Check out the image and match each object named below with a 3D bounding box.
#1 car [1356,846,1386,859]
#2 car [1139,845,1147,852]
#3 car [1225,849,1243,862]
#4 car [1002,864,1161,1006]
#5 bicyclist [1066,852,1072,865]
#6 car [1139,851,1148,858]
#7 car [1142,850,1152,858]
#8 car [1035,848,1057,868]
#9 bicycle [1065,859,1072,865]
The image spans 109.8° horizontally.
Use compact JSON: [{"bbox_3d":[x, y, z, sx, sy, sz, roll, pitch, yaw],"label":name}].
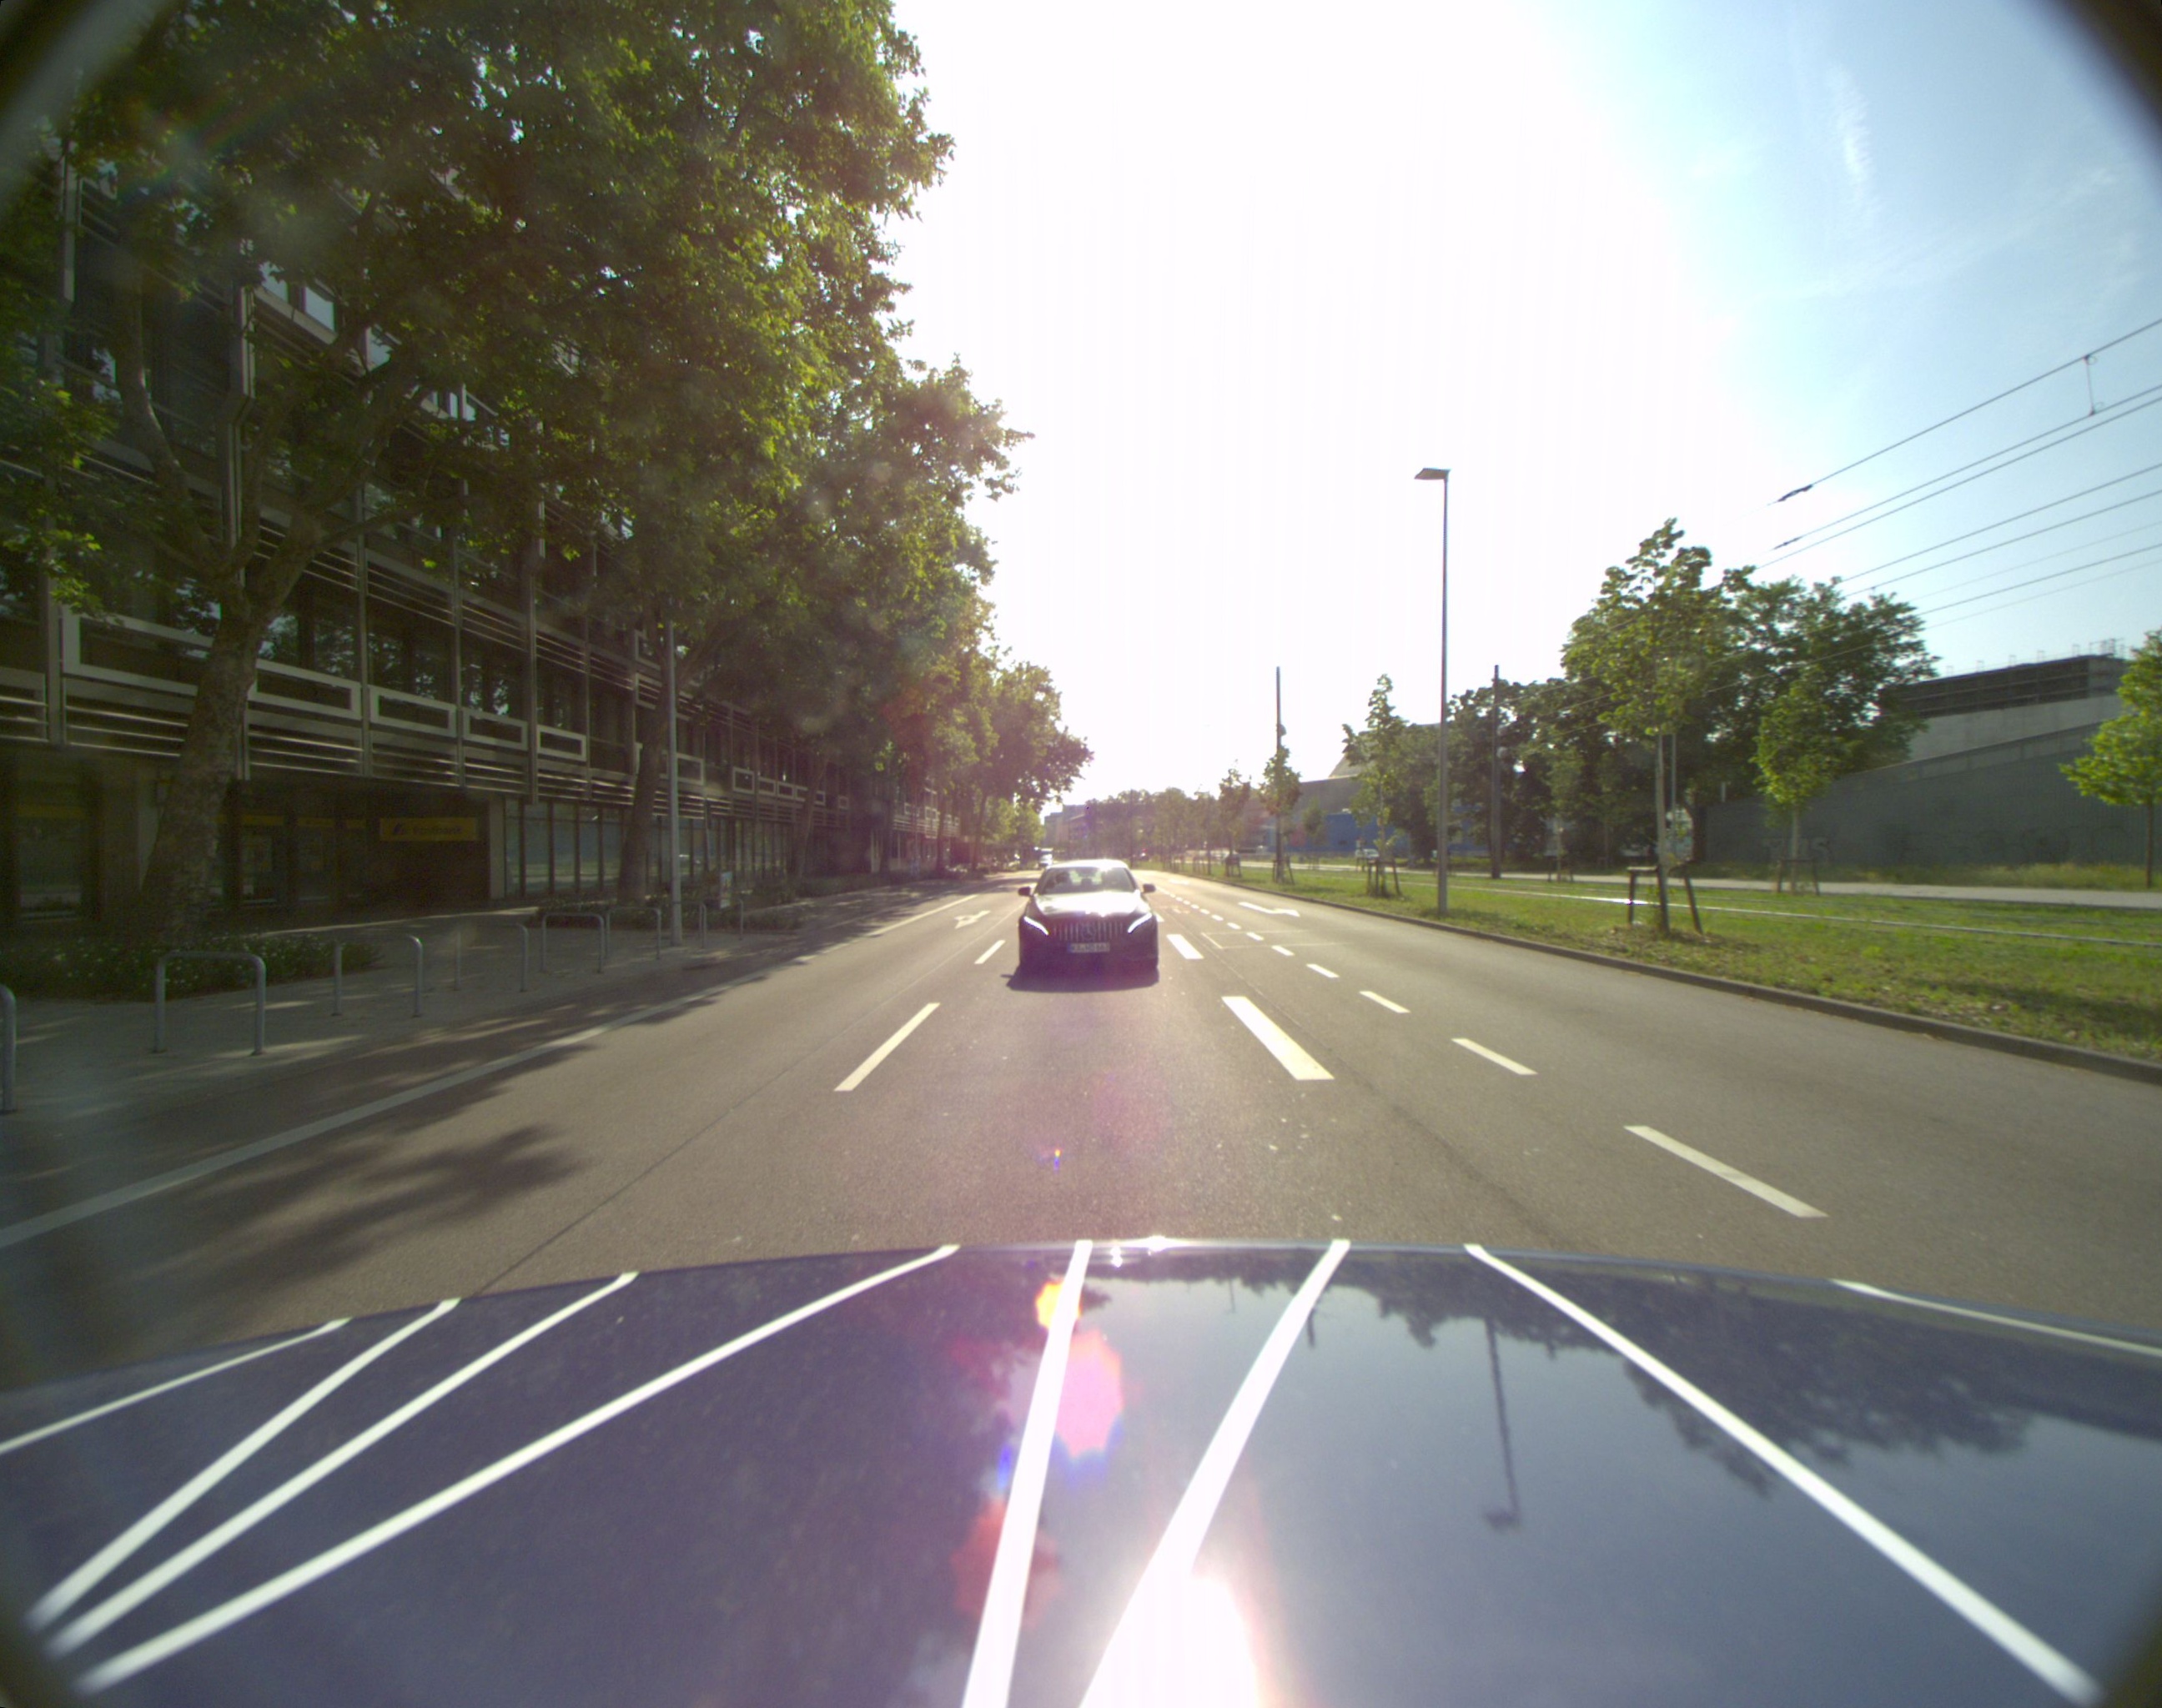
[{"bbox_3d":[41.365,-0.172,108.522,2.019,1.758,4.820,-1,0,-7],"label":"car"},{"bbox_3d":[16.264,-1.404,199.783,1.756,1.968,3.771,-1,0,1],"label":"car"},{"bbox_3d":[20.497,0.172,101.886,1.756,1.608,3.771,-1,0,1],"label":"car"},{"bbox_3d":[0.146,0.925,10.853,1.716,1.429,5.058,-1,0,3],"label":"car"},{"bbox_3d":[-1.507,0.553,92.238,0.612,1.505,0.813,-1,1,-9],"label":"bicyclist"},{"bbox_3d":[14.642,0.034,178.685,1.756,1.608,3.771,-1,0,1],"label":"car"},{"bbox_3d":[14.567,0.001,167.715,1.756,1.608,4.334,-1,0,1],"label":"car"},{"bbox_3d":[-3.754,0.439,81.733,1.998,2.002,3.999,-2,1,1],"label":"car"},{"bbox_3d":[-1.504,0.965,92.257,0.630,0.702,1.808,-1,0,-9],"label":"bicycle"}]
